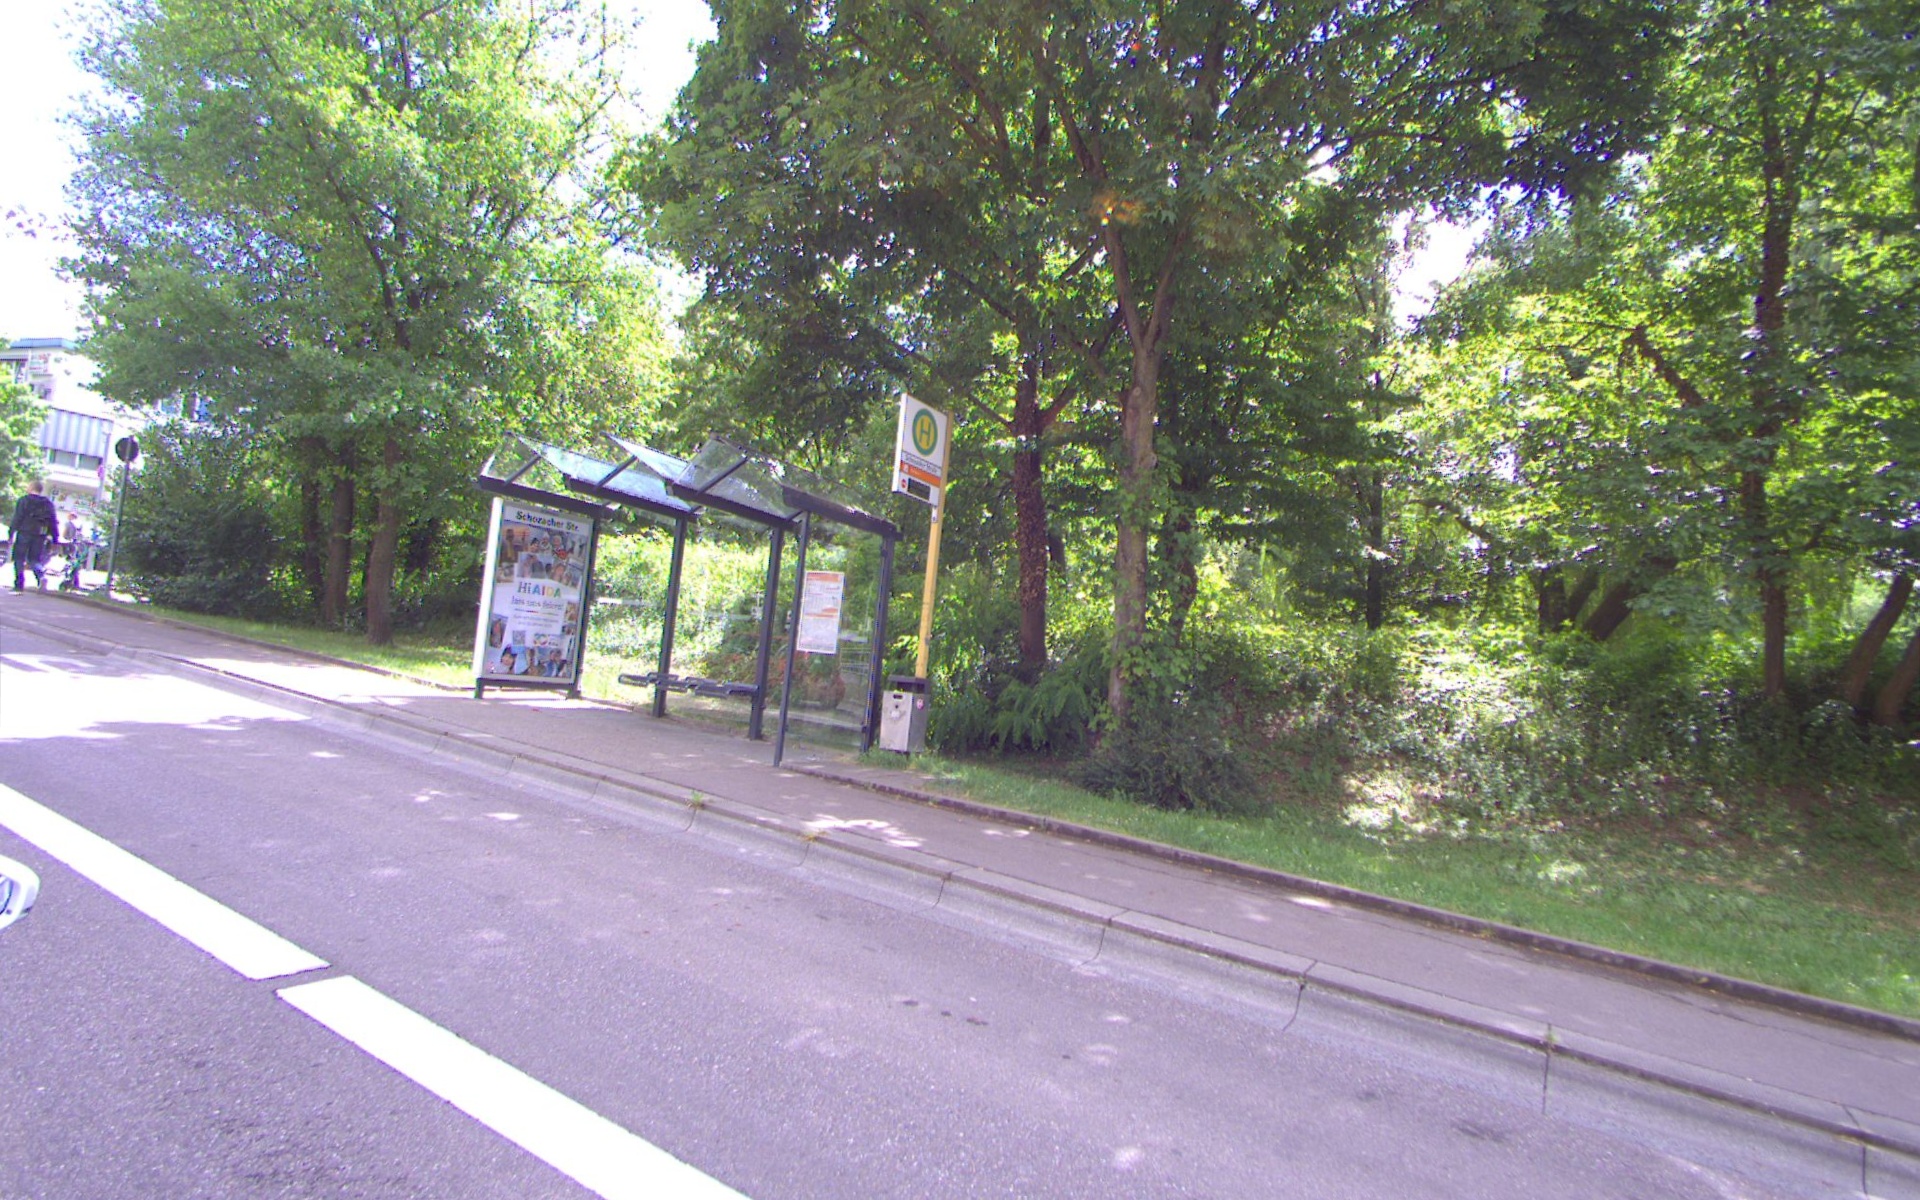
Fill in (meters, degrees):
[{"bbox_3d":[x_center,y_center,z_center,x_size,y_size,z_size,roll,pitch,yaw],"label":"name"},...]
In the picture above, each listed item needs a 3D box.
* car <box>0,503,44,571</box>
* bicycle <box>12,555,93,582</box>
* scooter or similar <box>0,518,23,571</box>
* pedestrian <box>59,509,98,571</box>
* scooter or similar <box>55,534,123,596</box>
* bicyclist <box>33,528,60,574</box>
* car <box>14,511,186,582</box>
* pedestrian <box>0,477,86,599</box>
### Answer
[{"bbox_3d":[-30.350,-2.187,29.121,1.963,1.914,5.192,7,-3,20],"label":"car"},{"bbox_3d":[-24.599,-0.847,27.299,1.576,0.618,0.529,3,2,-38],"label":"bicycle"},{"bbox_3d":[-25.016,-1.494,25.850,0.546,1.286,1.153,6,-3,34],"label":"scooter or similar"},{"bbox_3d":[-26.353,-1.790,30.079,0.653,1.733,0.457,8,-1,-35],"label":"pedestrian"},{"bbox_3d":[-20.231,-0.807,23.375,0.447,1.242,0.893,6,-6,32],"label":"scooter or similar"},{"bbox_3d":[-24.697,-1.329,27.194,0.396,1.170,0.497,8,-1,-38],"label":"bicyclist"},{"bbox_3d":[-33.252,-2.019,39.064,1.964,2.037,4.550,6,-1,24],"label":"car"},{"bbox_3d":[-15.621,-1.042,17.031,0.996,1.898,0.797,6,-1,31],"label":"pedestrian"}]
